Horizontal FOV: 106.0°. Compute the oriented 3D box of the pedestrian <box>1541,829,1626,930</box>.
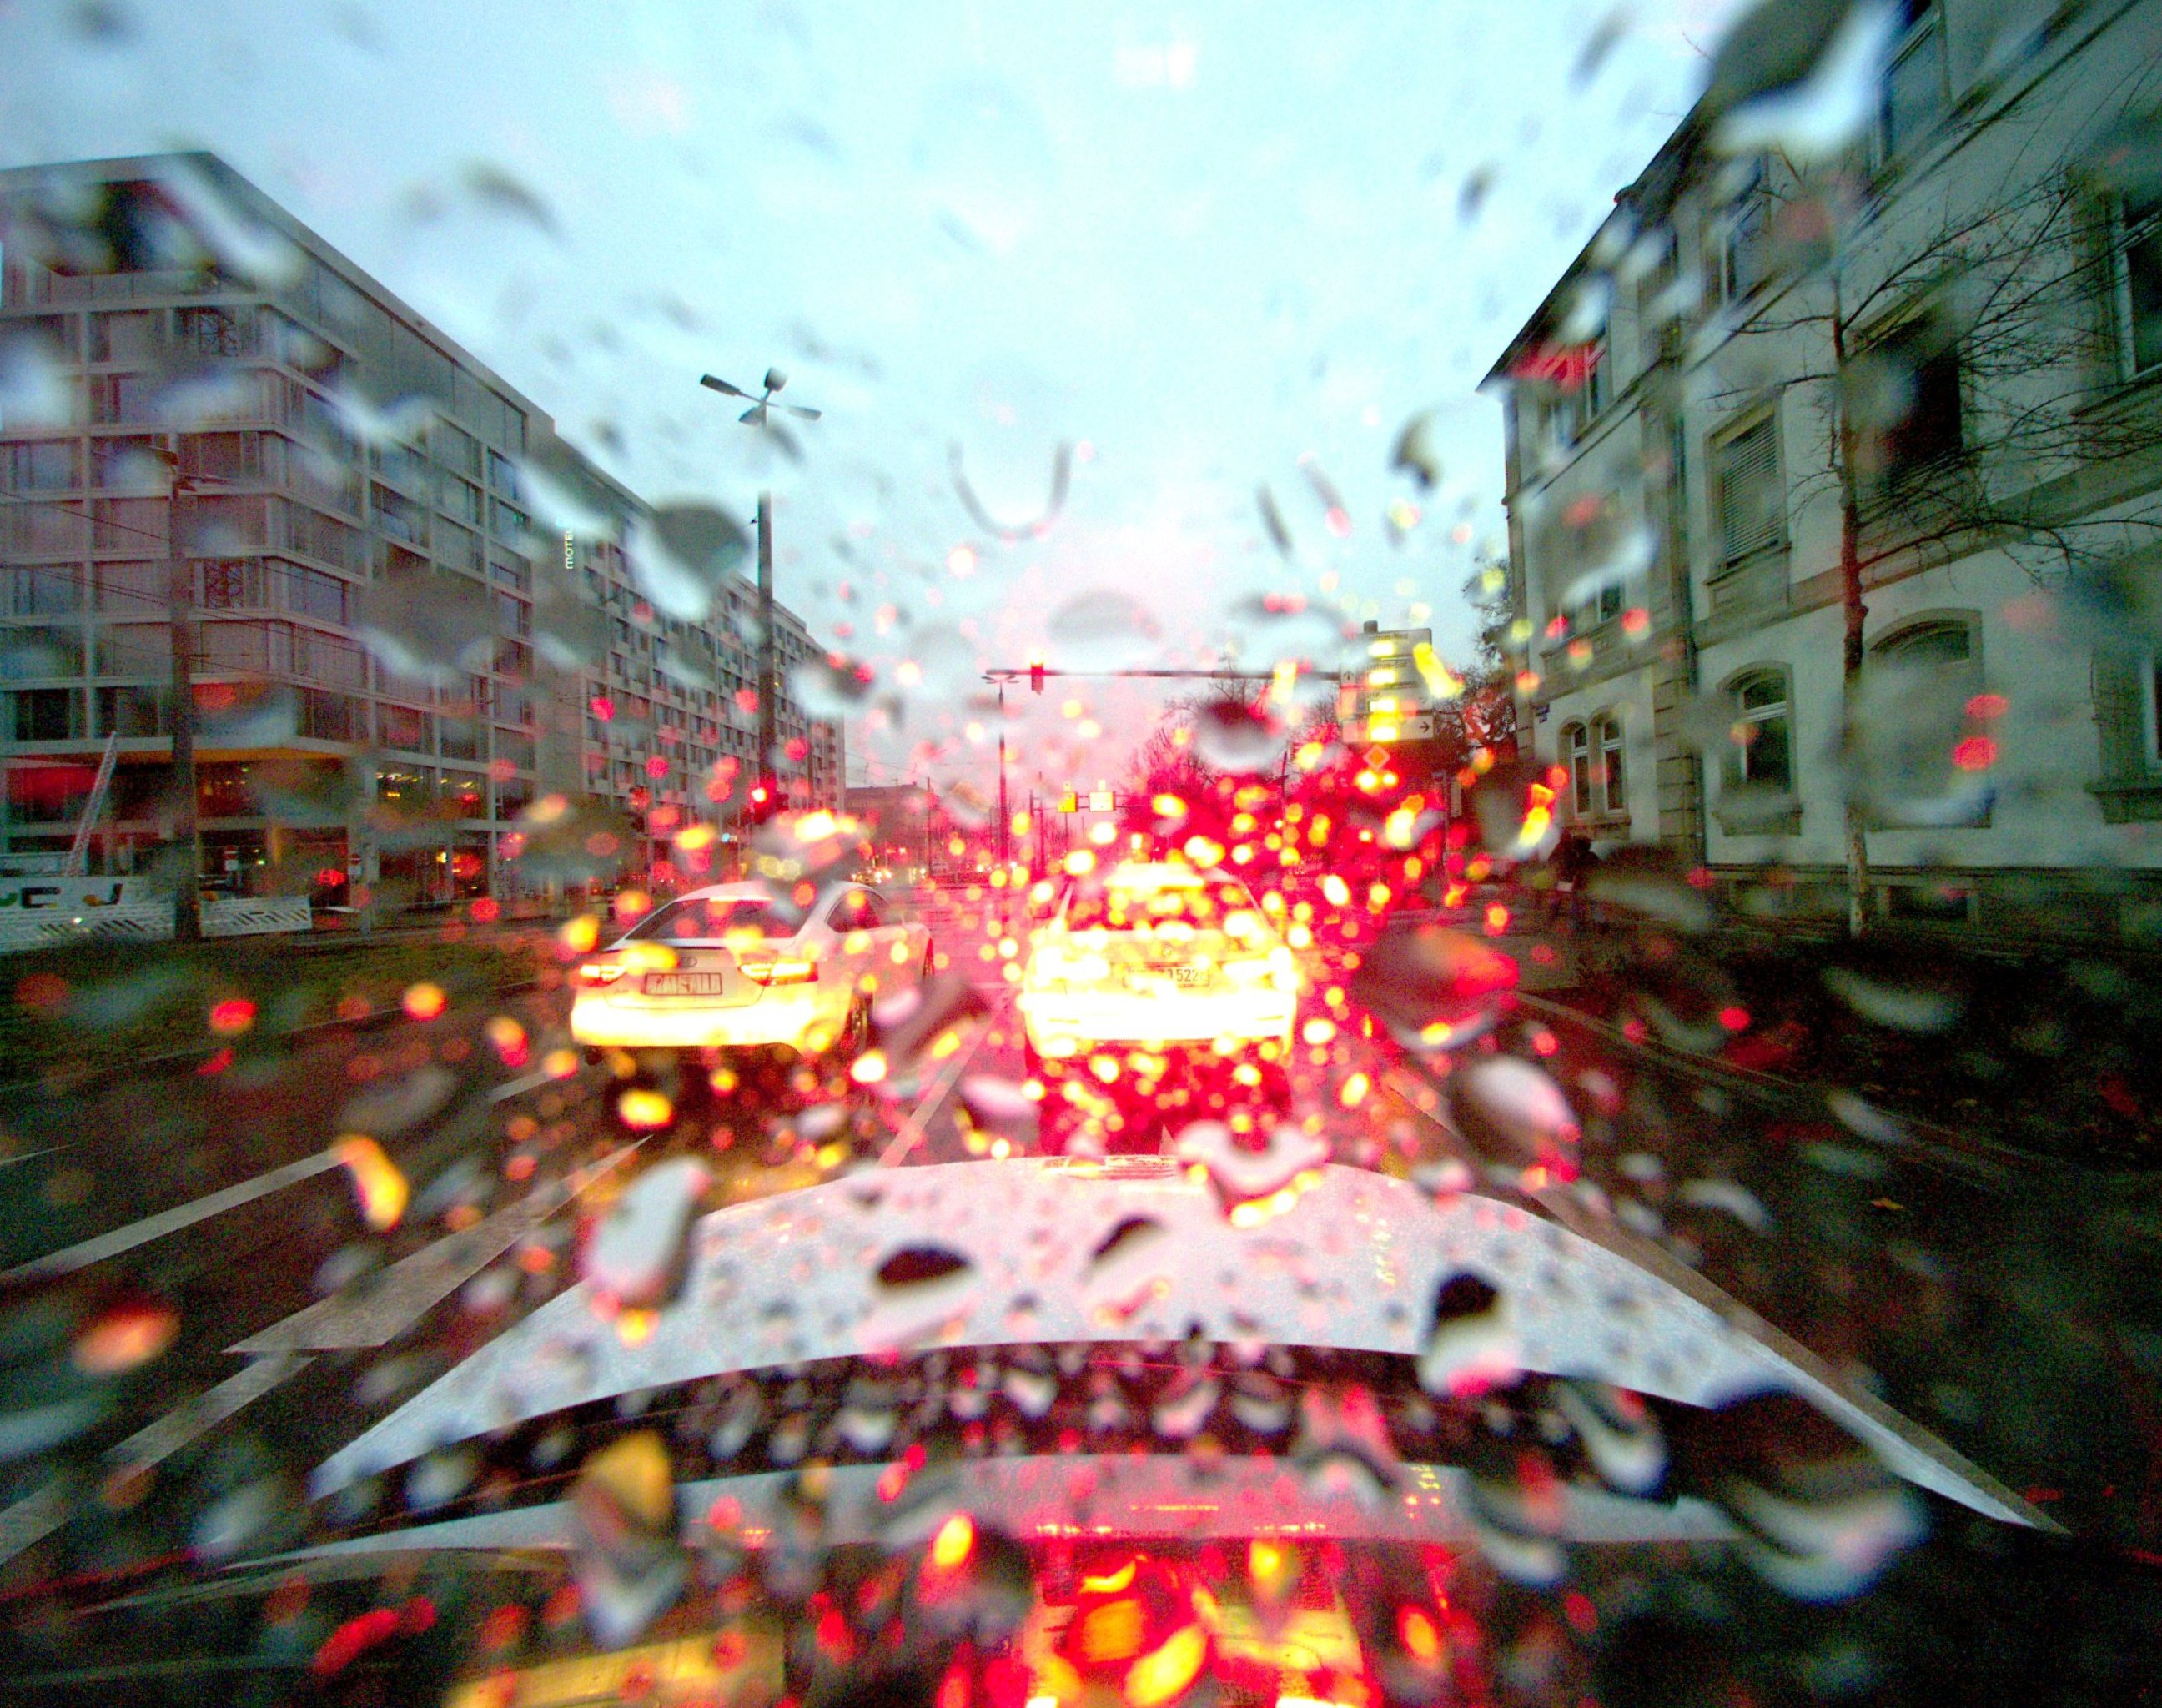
[{"bbox_3d":[8.105,0.403,13.177,0.778,1.579,1.012,0,-1,4],"label":"pedestrian"}]

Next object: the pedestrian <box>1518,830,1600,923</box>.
[{"bbox_3d":[8.700,0.393,14.854,0.783,1.632,1.005,0,-1,-17],"label":"pedestrian"}]

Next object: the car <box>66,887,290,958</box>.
[{"bbox_3d":[-25.823,1.883,23.426,1.933,1.687,4.110,-1,-1,35],"label":"car"}]

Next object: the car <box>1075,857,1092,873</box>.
[{"bbox_3d":[0.341,1.468,107.019,1.986,2.014,4.001,0,-1,2],"label":"car"}]

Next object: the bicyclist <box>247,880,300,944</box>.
[{"bbox_3d":[-37.189,2.636,37.536,1.353,2.828,1.185,0,-1,-21],"label":"bicyclist"}]

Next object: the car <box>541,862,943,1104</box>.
[{"bbox_3d":[-2.457,0.815,7.166,1.754,1.470,4.250,0,-1,0],"label":"car"}]

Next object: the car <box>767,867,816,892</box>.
[{"bbox_3d":[-21.847,1.898,61.646,1.873,1.789,4.602,0,-1,3],"label":"car"}]

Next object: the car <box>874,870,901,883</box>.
[{"bbox_3d":[-23.449,2.660,98.977,1.987,1.462,5.094,0,0,0],"label":"car"}]

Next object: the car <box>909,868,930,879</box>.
[{"bbox_3d":[-22.732,2.785,114.816,1.987,1.462,5.094,0,0,0],"label":"car"}]

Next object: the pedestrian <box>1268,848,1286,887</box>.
[{"bbox_3d":[9.567,0.675,39.791,0.671,1.879,0.715,0,-1,-1],"label":"pedestrian"}]

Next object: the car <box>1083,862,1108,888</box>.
[{"bbox_3d":[1.220,1.671,65.898,1.986,2.014,4.001,0,-1,2],"label":"car"}]

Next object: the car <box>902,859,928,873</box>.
[{"bbox_3d":[-18.450,1.346,90.864,1.988,1.462,5.090,0,-1,-2],"label":"car"}]

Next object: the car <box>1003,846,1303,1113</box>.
[{"bbox_3d":[0.419,0.751,6.926,1.754,1.552,4.250,0,-1,0],"label":"car"}]

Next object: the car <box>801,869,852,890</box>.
[{"bbox_3d":[-18.711,1.865,60.191,1.986,1.462,5.097,0,-1,2],"label":"car"}]
